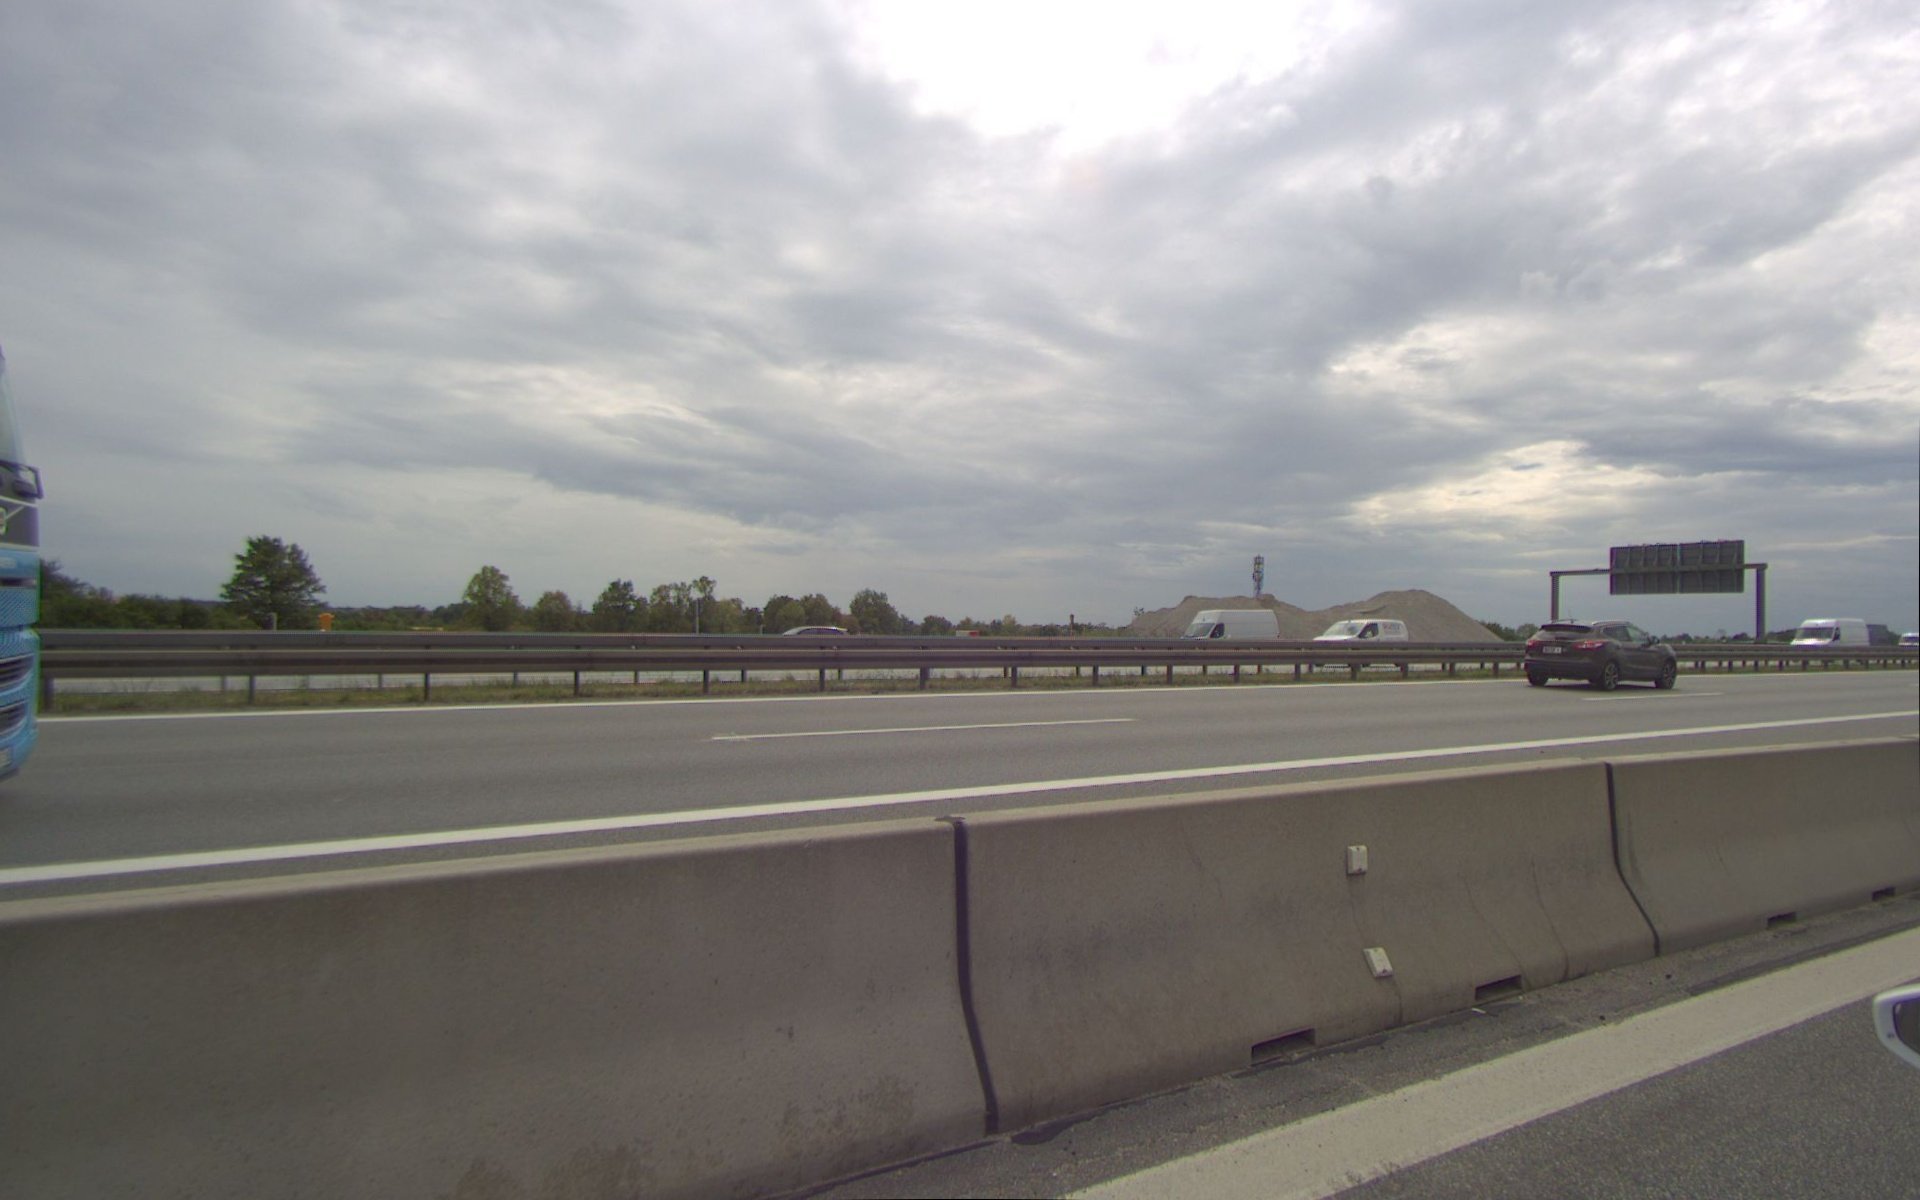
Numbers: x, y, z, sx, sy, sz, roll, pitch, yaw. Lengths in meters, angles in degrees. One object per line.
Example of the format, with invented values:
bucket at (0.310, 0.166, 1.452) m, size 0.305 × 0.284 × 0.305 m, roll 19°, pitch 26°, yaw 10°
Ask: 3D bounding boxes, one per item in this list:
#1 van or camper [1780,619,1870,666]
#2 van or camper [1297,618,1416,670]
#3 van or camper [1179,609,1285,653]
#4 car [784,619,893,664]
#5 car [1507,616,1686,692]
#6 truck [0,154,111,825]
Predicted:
van or camper at (52.569, 2.579, 60.972) m, size 6.827 × 2.654 × 2.175 m, roll 2°, pitch -1°, yaw -32°
van or camper at (15.201, 1.685, 38.478) m, size 4.297 × 1.853 × 1.984 m, roll 2°, pitch 0°, yaw -30°
van or camper at (14.572, 1.672, 53.714) m, size 5.746 × 2.200 × 2.175 m, roll 2°, pitch -1°, yaw -32°
car at (-4.958, 1.685, 40.991) m, size 3.957 × 1.706 × 1.982 m, roll 2°, pitch 0°, yaw -33°
car at (15.136, 1.237, 23.837) m, size 4.369 × 1.619 × 1.882 m, roll 2°, pitch 0°, yaw -32°
truck at (-8.943, -0.714, 5.059) m, size 6.533 × 3.963 × 3.231 m, roll 2°, pitch 0°, yaw -31°
